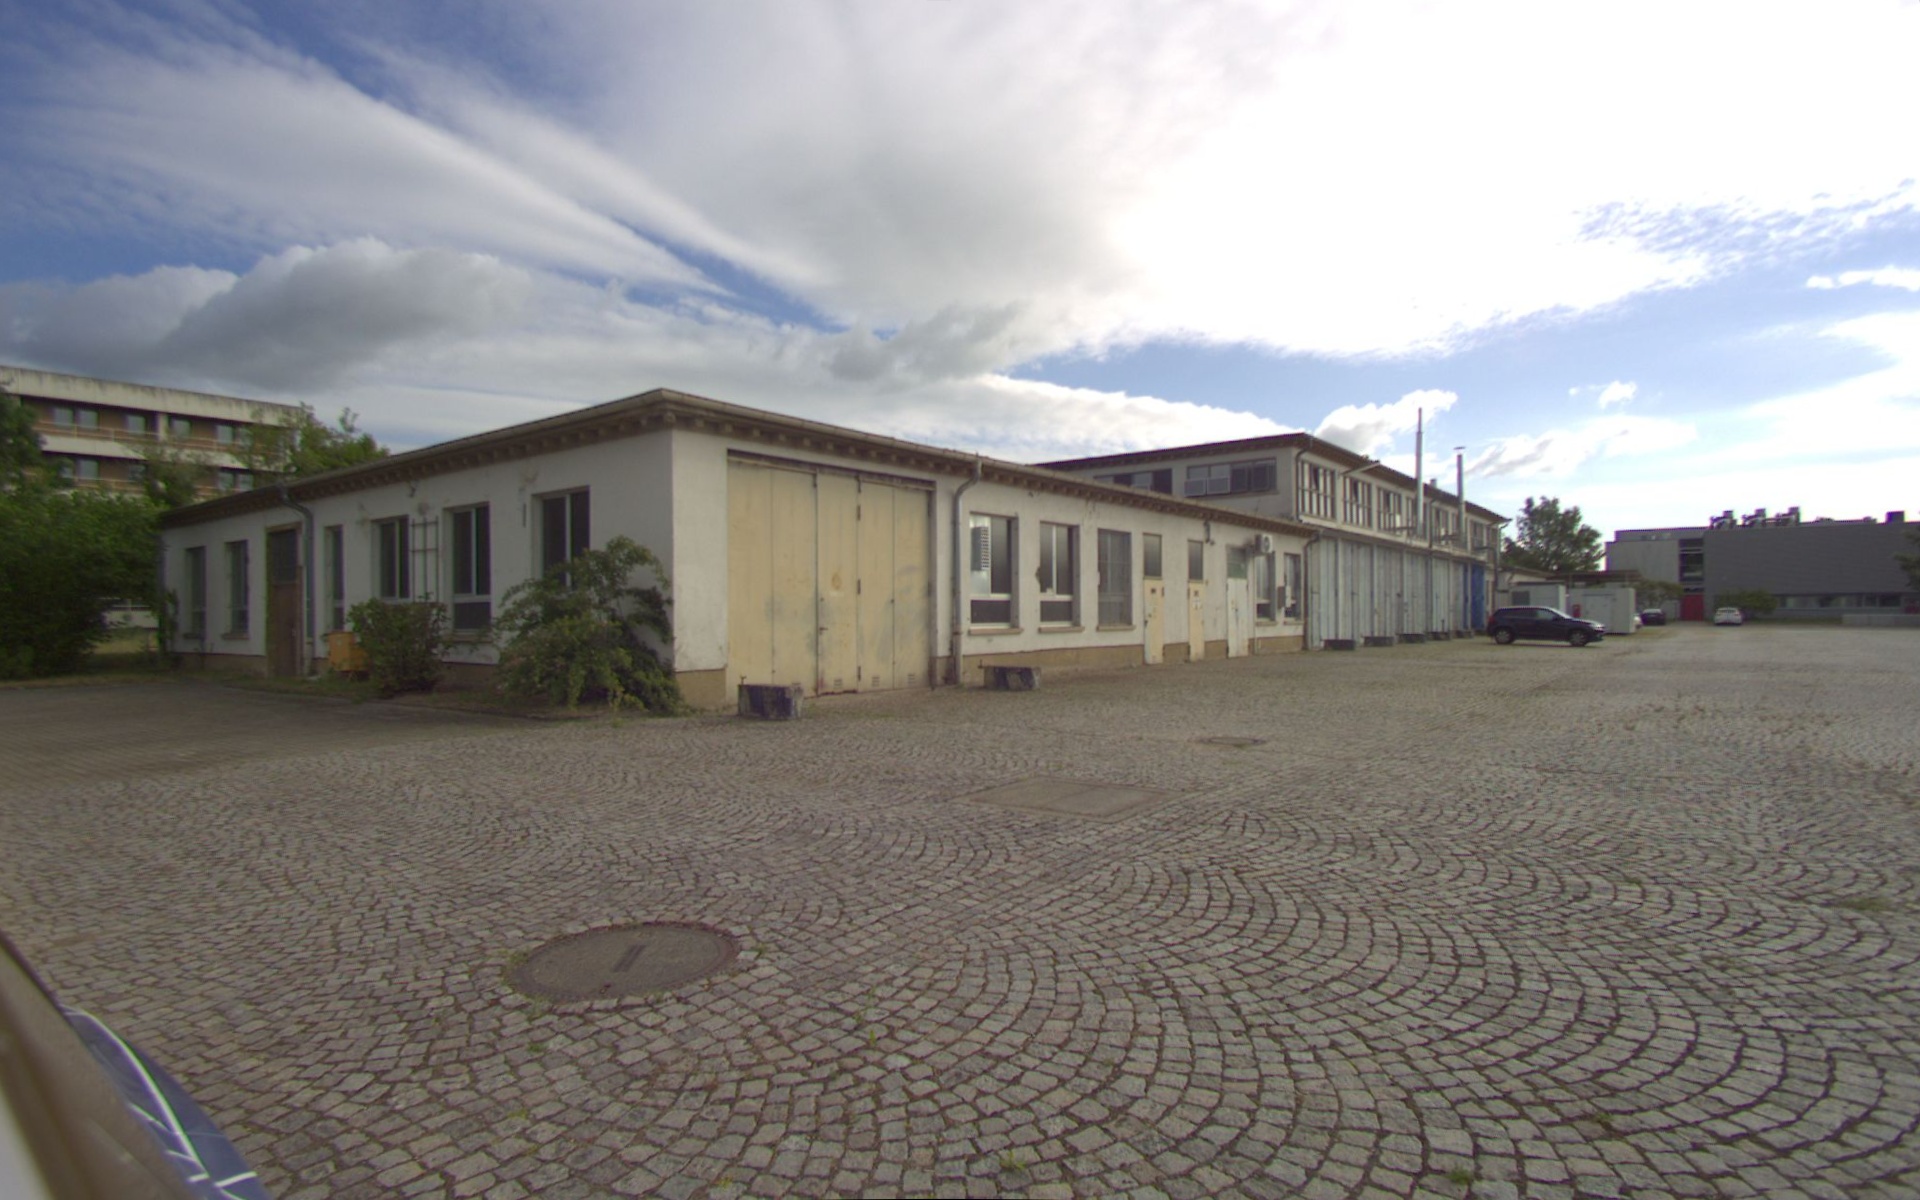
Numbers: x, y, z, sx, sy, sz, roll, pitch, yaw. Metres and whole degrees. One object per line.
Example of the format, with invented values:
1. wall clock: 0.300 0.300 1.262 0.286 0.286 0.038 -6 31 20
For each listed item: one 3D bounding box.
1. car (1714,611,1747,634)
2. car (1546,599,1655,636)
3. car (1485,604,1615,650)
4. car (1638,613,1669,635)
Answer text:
1. car: 64.720 1.877 85.058 2.150 1.824 3.950 -2 -2 37
2. car: 40.364 1.154 63.811 5.621 2.236 2.422 -1 -2 37
3. car: 24.227 1.148 41.632 4.429 1.770 1.975 -1 -4 37
4. car: 60.290 2.100 87.946 1.997 1.824 3.950 -2 -2 37
